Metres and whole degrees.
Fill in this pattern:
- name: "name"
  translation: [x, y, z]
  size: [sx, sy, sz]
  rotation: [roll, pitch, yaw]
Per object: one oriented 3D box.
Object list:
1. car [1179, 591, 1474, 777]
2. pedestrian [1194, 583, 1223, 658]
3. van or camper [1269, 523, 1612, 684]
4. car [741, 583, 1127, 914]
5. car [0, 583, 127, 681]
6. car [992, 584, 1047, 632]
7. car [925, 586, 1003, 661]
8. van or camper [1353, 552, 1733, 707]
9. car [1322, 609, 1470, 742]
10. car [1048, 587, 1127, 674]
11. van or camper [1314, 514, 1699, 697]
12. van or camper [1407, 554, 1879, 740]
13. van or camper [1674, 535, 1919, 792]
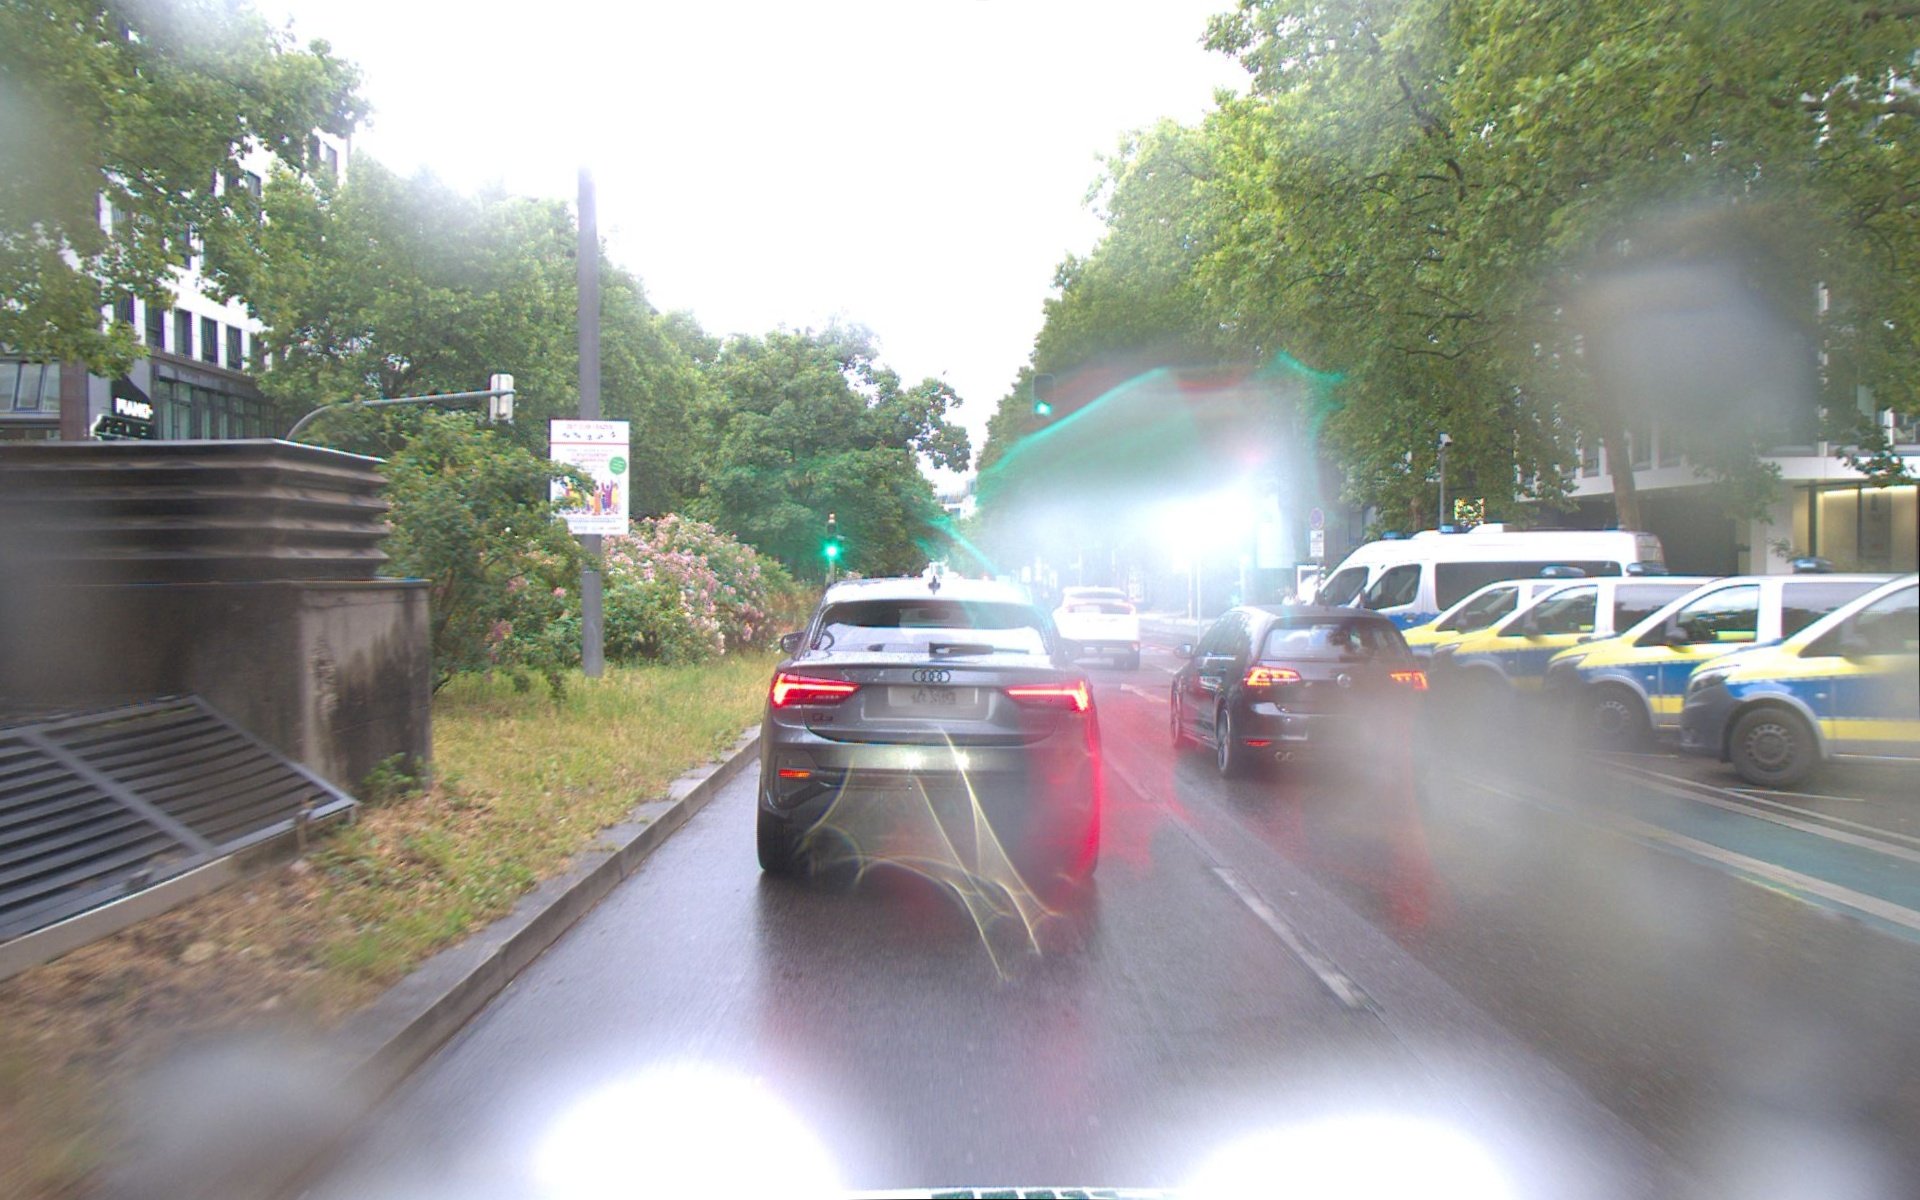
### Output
- name: "car"
  translation: [3.149, 0.649, 15.011]
  size: [1.729, 1.437, 3.999]
  rotation: [0, 1, -1]
- name: "pedestrian"
  translation: [6.227, 0.498, 41.453]
  size: [0.594, 1.863, 0.563]
  rotation: [0, 0, -10]
- name: "van or camper"
  translation: [8.774, 0.034, 30.510]
  size: [5.702, 2.724, 2.138]
  rotation: [1, 0, 37]
- name: "car"
  translation: [-0.097, 0.684, 10.122]
  size: [1.825, 1.559, 4.527]
  rotation: [0, 1, 1]
- name: "car"
  translation: [-16.169, 0.489, 28.044]
  size: [1.954, 1.535, 4.516]
  rotation: [0, 1, -3]
- name: "car"
  translation: [2.242, 0.270, 63.513]
  size: [1.953, 1.780, 4.000]
  rotation: [0, 1, 0]
- name: "car"
  translation: [0.056, 0.493, 37.652]
  size: [1.686, 1.605, 3.961]
  rotation: [0, 1, -1]
- name: "van or camper"
  translation: [8.461, 0.405, 24.185]
  size: [4.915, 2.049, 1.993]
  rotation: [0, -1, 35]
- name: "car"
  translation: [5.101, 0.841, 19.590]
  size: [1.029, 1.412, 2.694]
  rotation: [0, 1, 0]
- name: "car"
  translation: [2.617, 0.589, 34.391]
  size: [1.404, 1.714, 2.979]
  rotation: [0, 0, 0]
- name: "van or camper"
  translation: [8.856, 0.067, 27.108]
  size: [5.693, 2.727, 1.993]
  rotation: [0, 0, 35]
- name: "van or camper"
  translation: [8.388, 0.495, 20.515]
  size: [5.102, 2.027, 1.994]
  rotation: [1, 0, 34]
- name: "van or camper"
  translation: [8.835, 0.510, 13.737]
  size: [5.008, 2.060, 2.097]
  rotation: [1, 0, 37]
